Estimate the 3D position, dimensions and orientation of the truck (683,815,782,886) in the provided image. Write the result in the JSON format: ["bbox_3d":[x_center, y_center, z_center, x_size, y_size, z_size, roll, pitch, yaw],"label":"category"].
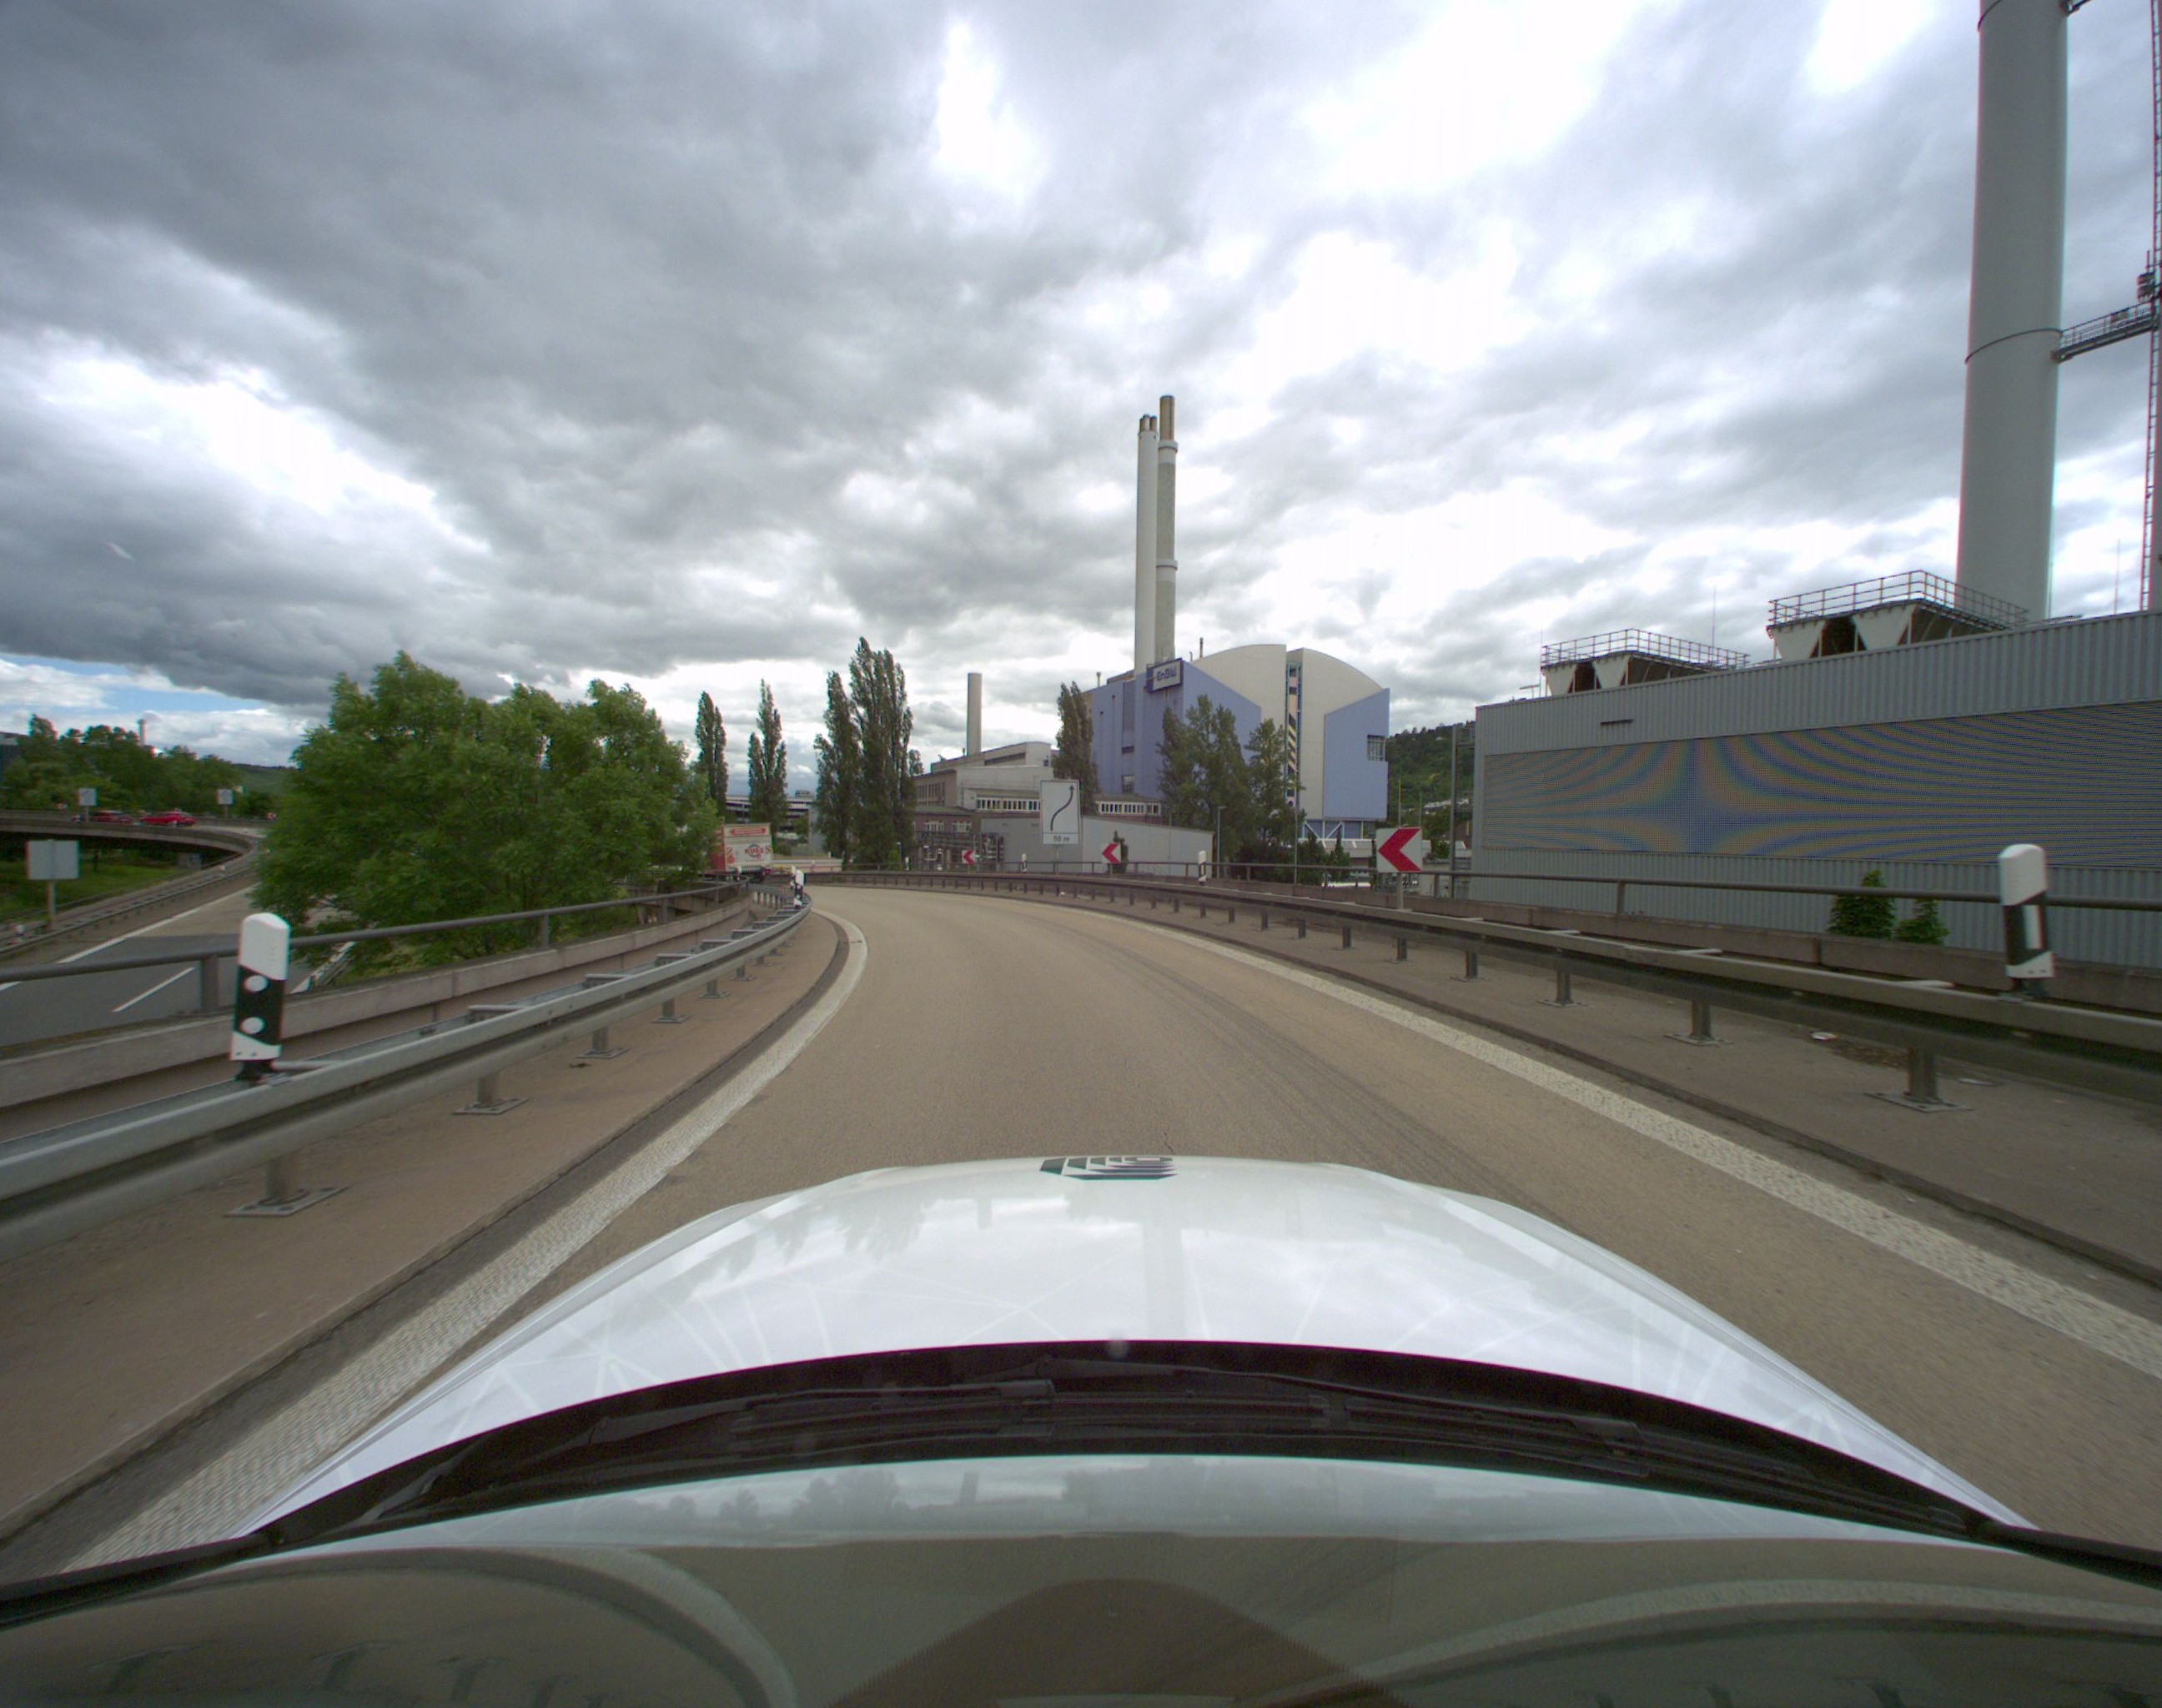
[{"bbox_3d":[-19.771,-0.238,45.883,3.076,3.673,7.836,0,1,-39],"label":"truck"}]
